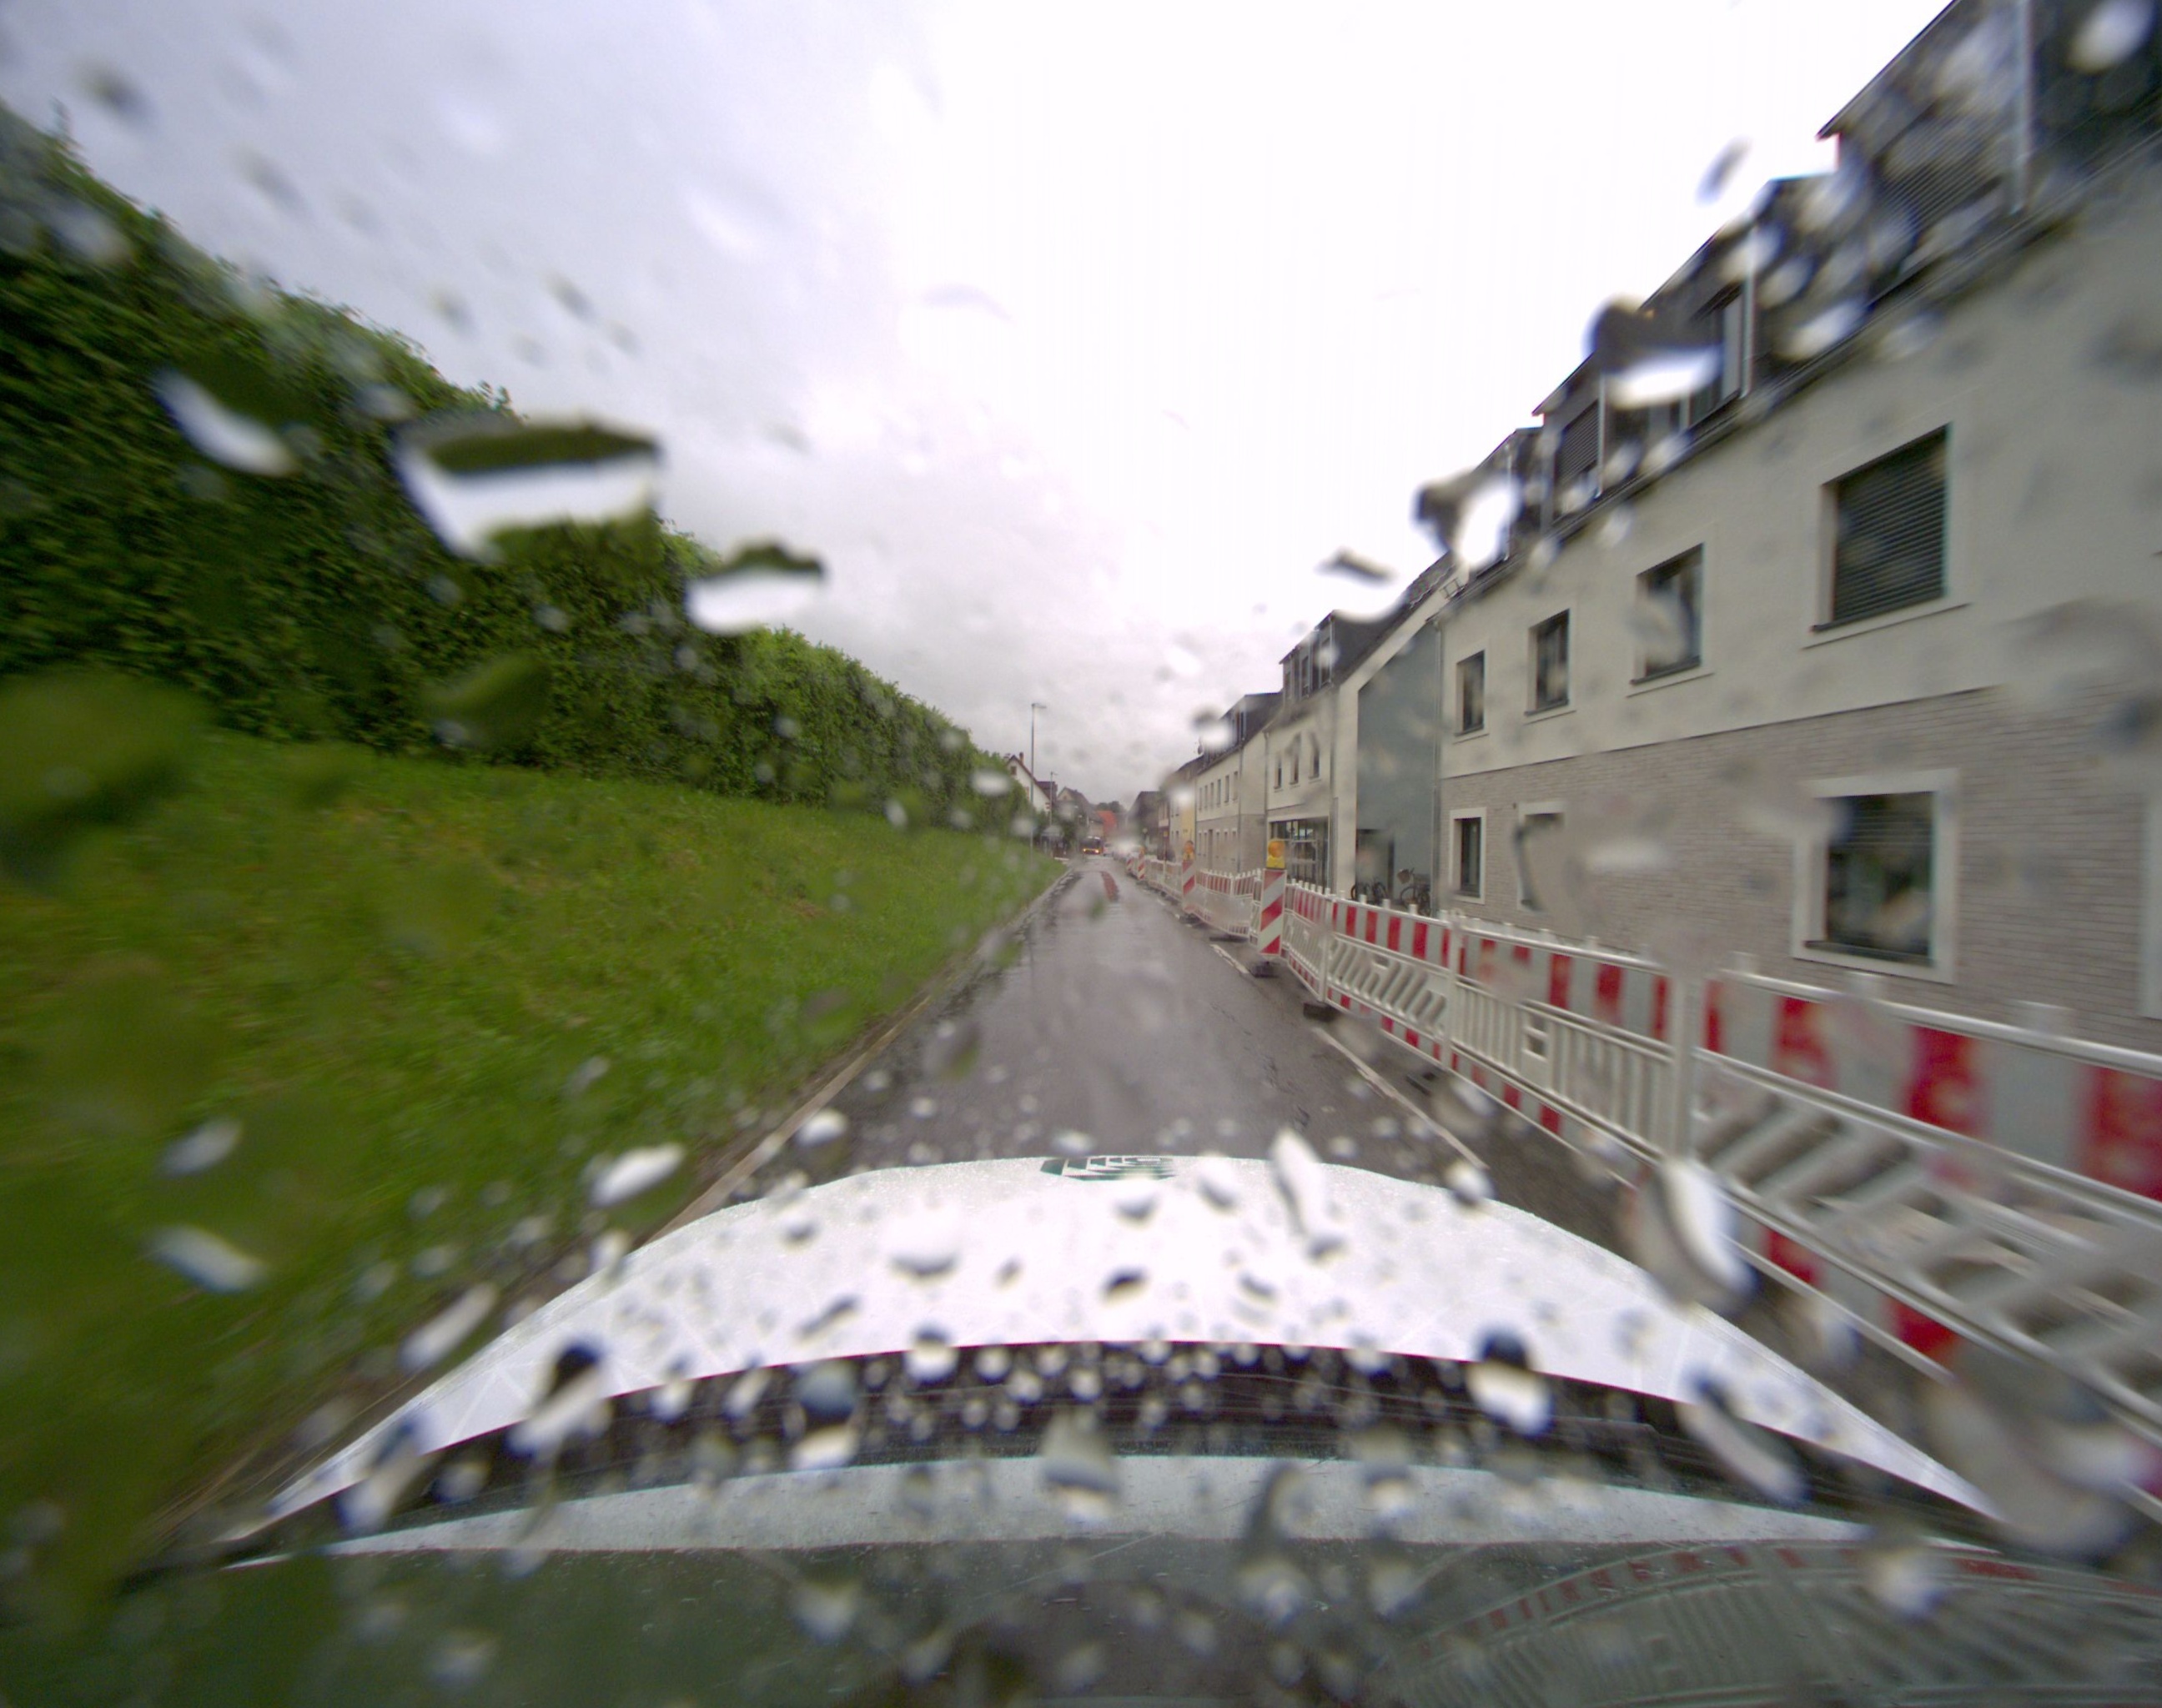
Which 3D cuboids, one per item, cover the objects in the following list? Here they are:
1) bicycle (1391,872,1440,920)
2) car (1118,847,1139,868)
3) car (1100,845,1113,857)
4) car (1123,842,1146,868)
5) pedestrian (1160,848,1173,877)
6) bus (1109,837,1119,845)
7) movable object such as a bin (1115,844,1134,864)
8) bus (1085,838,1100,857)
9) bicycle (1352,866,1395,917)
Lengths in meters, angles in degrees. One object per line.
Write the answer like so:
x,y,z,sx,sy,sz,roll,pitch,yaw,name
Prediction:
8.320,1.024,20.329,0.516,1.103,1.790,2,0,2,bicycle
4.841,0.340,83.748,1.986,2.013,4.001,2,0,1,car
3.663,-0.440,117.553,1.812,1.642,4.096,2,0,1,car
5.062,0.076,77.732,1.986,2.375,4.096,2,0,1,car
5.274,0.492,50.133,0.663,1.755,0.812,2,0,3,pedestrian
6.221,-2.384,154.824,1.787,1.409,4.004,2,0,3,bus
5.095,0.007,95.231,1.987,2.172,4.000,2,0,1,movable object such as a bin
2.096,-1.086,142.112,2.232,3.103,7.035,2,0,3,bus
7.571,0.939,21.169,0.516,1.220,1.790,2,0,2,bicycle
